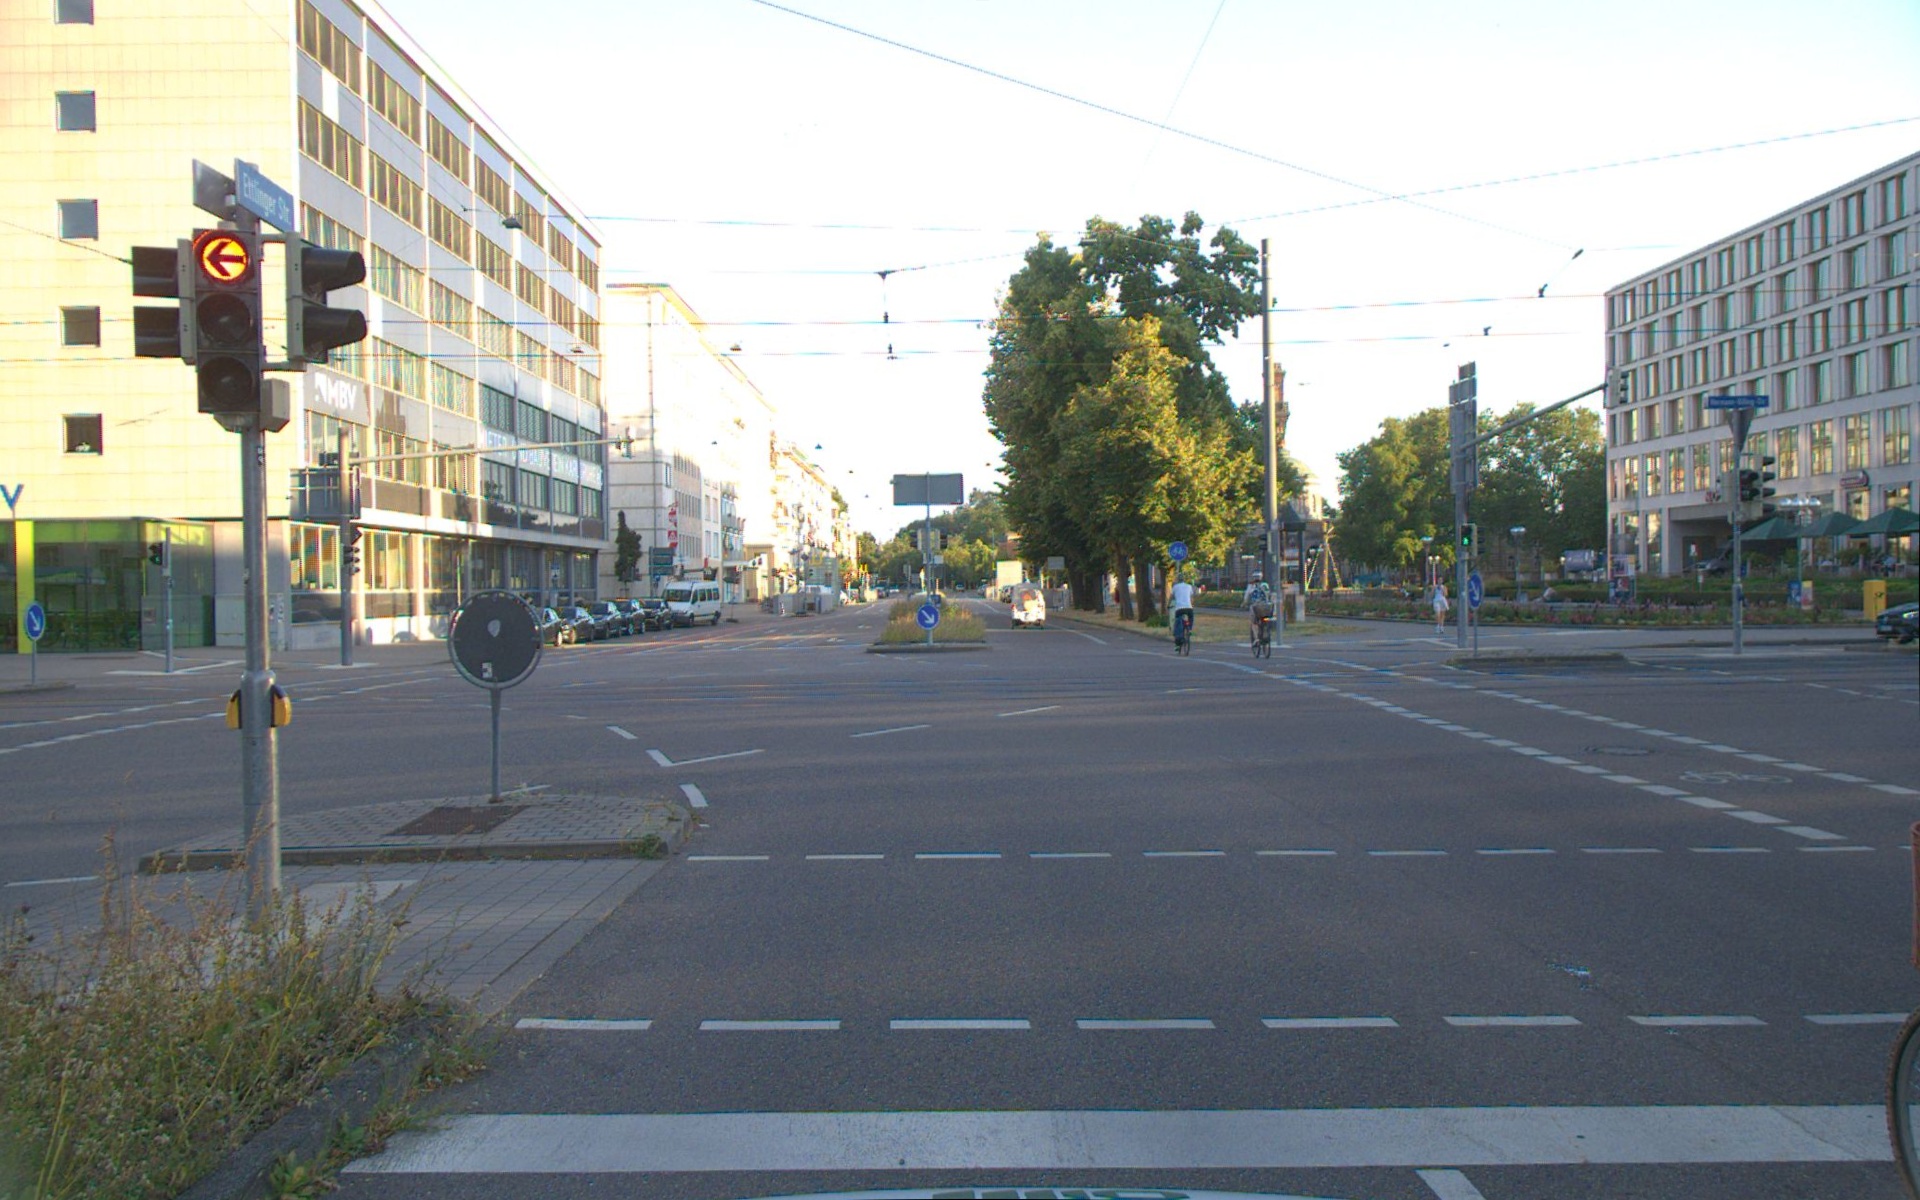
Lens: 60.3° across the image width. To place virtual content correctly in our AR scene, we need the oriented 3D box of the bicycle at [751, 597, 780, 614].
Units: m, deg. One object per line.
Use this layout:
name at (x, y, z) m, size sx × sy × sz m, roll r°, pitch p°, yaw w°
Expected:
bicycle at (-15.148, 0.426, 128.664) m, size 2.161 × 1.258 × 0.839 m, roll -1°, pitch 0°, yaw -2°

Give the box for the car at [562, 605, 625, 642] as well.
car at (-16.132, 1.012, 72.993) m, size 1.882 × 1.489 × 3.999 m, roll -1°, pitch 0°, yaw -1°

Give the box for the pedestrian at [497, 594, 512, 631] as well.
pedestrian at (-21.373, 0.590, 77.626) m, size 0.540 × 1.708 × 0.500 m, roll -1°, pitch 0°, yaw -1°

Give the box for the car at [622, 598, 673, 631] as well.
car at (-15.954, 0.733, 84.528) m, size 1.882 × 1.595 × 3.999 m, roll -1°, pitch 0°, yaw -1°

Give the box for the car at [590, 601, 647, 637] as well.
car at (-16.128, 0.881, 78.296) m, size 1.882 × 1.595 × 3.999 m, roll -1°, pitch 0°, yaw -1°

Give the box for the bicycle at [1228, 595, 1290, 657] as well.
bicycle at (6.002, 0.497, 33.323) m, size 0.731 × 1.164 × 2.505 m, roll -1°, pitch 0°, yaw -1°

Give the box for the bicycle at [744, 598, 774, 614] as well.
bicycle at (-15.202, 0.456, 125.299) m, size 2.161 × 1.131 × 0.618 m, roll -1°, pitch 0°, yaw -3°

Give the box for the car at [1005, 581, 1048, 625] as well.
car at (2.599, 0.096, 65.286) m, size 1.379 × 1.670 × 3.998 m, roll -1°, pitch 0°, yaw -2°

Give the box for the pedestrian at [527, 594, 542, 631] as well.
pedestrian at (-20.030, 0.598, 77.780) m, size 0.540 × 1.708 × 0.500 m, roll -1°, pitch 0°, yaw -1°

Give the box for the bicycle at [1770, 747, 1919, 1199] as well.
bicycle at (2.190, 0.923, 2.830) m, size 0.599 × 1.152 × 2.004 m, roll 1°, pitch 0°, yaw -1°

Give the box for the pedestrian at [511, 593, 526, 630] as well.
pedestrian at (-20.766, 0.539, 77.859) m, size 0.540 × 1.708 × 0.500 m, roll -1°, pitch 0°, yaw -1°

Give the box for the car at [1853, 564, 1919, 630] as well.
car at (24.417, -0.135, 39.805) m, size 4.724 × 1.542 × 2.000 m, roll -1°, pitch 0°, yaw 1°

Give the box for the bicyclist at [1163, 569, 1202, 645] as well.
bicyclist at (5.054, 0.155, 37.569) m, size 0.731 × 1.692 × 0.873 m, roll -1°, pitch 0°, yaw -1°

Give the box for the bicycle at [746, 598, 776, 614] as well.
bicycle at (-15.232, 0.446, 126.715) m, size 2.161 × 1.131 × 0.689 m, roll -1°, pitch 0°, yaw -2°

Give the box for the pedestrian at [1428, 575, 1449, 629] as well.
pedestrian at (14.209, 0.057, 49.089) m, size 0.480 × 1.566 × 0.408 m, roll -1°, pitch 0°, yaw -1°

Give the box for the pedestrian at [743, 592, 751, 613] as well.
pedestrian at (-21.192, 0.266, 164.550) m, size 0.666 × 2.049 × 0.545 m, roll -2°, pitch 0°, yaw -1°

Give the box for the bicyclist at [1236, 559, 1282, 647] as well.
bicyclist at (5.991, 0.053, 33.210) m, size 0.731 × 1.720 × 0.799 m, roll -1°, pitch 0°, yaw -1°

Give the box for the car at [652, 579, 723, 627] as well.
car at (-14.936, 0.144, 91.003) m, size 1.958 × 2.521 × 5.873 m, roll -1°, pitch 0°, yaw 9°

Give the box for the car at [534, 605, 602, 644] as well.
car at (-16.112, 0.992, 68.178) m, size 1.882 × 1.489 × 3.999 m, roll -1°, pitch 0°, yaw -1°

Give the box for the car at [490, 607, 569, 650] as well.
car at (-16.004, 1.032, 61.683) m, size 1.882 × 1.489 × 4.102 m, roll -1°, pitch 0°, yaw -1°

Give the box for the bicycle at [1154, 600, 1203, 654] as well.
bicycle at (5.003, 0.590, 37.983) m, size 0.731 × 1.164 × 2.505 m, roll -1°, pitch 0°, yaw -1°
